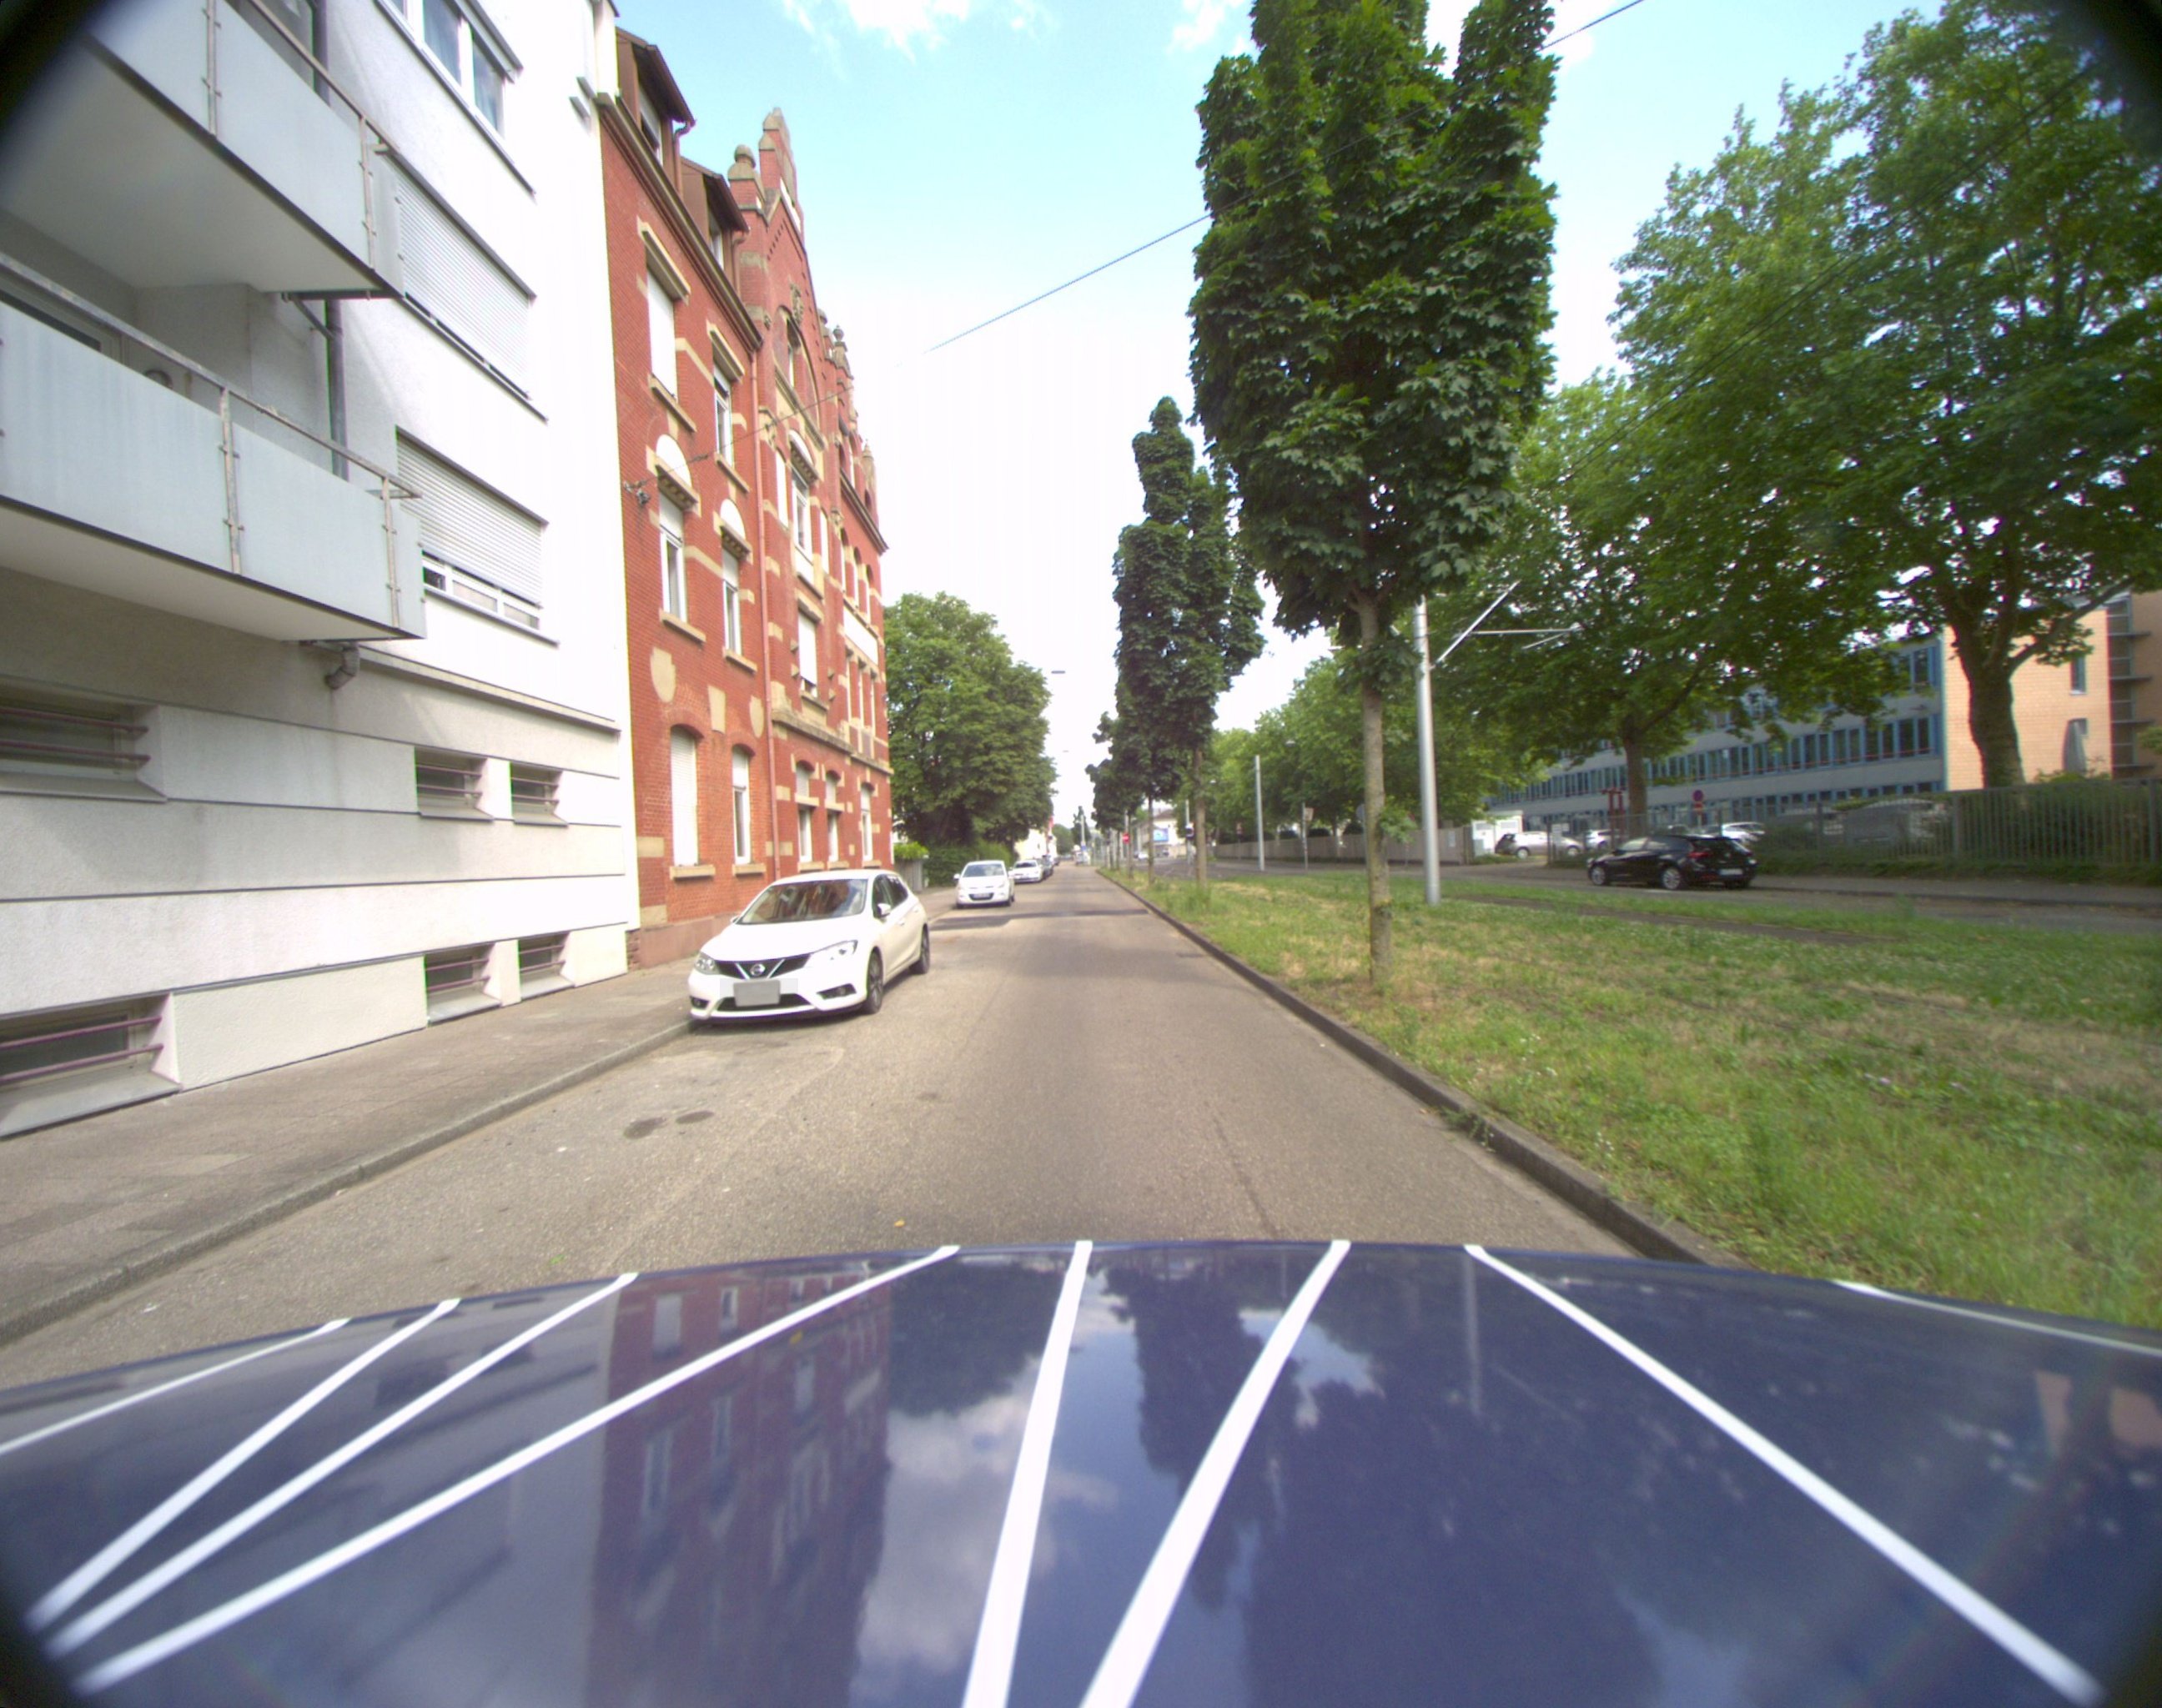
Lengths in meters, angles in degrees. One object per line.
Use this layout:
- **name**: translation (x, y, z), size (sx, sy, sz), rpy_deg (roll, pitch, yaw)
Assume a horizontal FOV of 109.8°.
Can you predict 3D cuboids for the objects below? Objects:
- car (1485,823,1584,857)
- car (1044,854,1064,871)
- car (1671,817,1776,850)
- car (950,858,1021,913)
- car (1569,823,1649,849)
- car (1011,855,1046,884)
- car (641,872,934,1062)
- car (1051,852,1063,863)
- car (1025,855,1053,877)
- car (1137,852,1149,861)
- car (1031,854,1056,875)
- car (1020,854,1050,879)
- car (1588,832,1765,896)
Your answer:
- **car**: translation (23.939, -0.721, 40.194), size (3.997, 1.608, 1.999), rpy_deg (-2, 1, -2)
- **car**: translation (-2.725, 0.862, 77.386), size (1.801, 1.521, 4.040), rpy_deg (-5, 0, 0)
- **car**: translation (34.563, -1.089, 40.967), size (3.997, 1.608, 1.999), rpy_deg (-2, 1, -2)
- **car**: translation (-3.078, 0.981, 25.282), size (1.801, 1.521, 4.040), rpy_deg (-4, 0, 0)
- **car**: translation (35.378, -1.206, 50.957), size (3.997, 1.608, 1.999), rpy_deg (-2, 1, -2)
- **car**: translation (-3.166, 0.935, 46.696), size (1.801, 1.521, 4.040), rpy_deg (-5, 0, 0)
- **car**: translation (-3.046, 1.072, 8.905), size (1.801, 1.521, 4.040), rpy_deg (-3, 0, 0)
- **car**: translation (-3.855, 0.505, 122.223), size (1.801, 1.521, 4.040), rpy_deg (-5, 0, 0)
- **car**: translation (-3.202, 0.890, 58.459), size (1.801, 1.521, 4.040), rpy_deg (-5, 0, 0)
- **car**: translation (11.203, 0.431, 137.475), size (1.801, 1.521, 4.040), rpy_deg (-4, 0, 0)
- **car**: translation (-3.135, 0.839, 63.872), size (1.801, 1.521, 4.040), rpy_deg (-5, 0, 0)
- **car**: translation (-3.164, 0.852, 52.999), size (1.801, 1.521, 4.040), rpy_deg (-5, 0, 0)
- **car**: translation (15.555, 0.220, 20.160), size (1.601, 1.455, 4.000), rpy_deg (-3, 0, 2)
